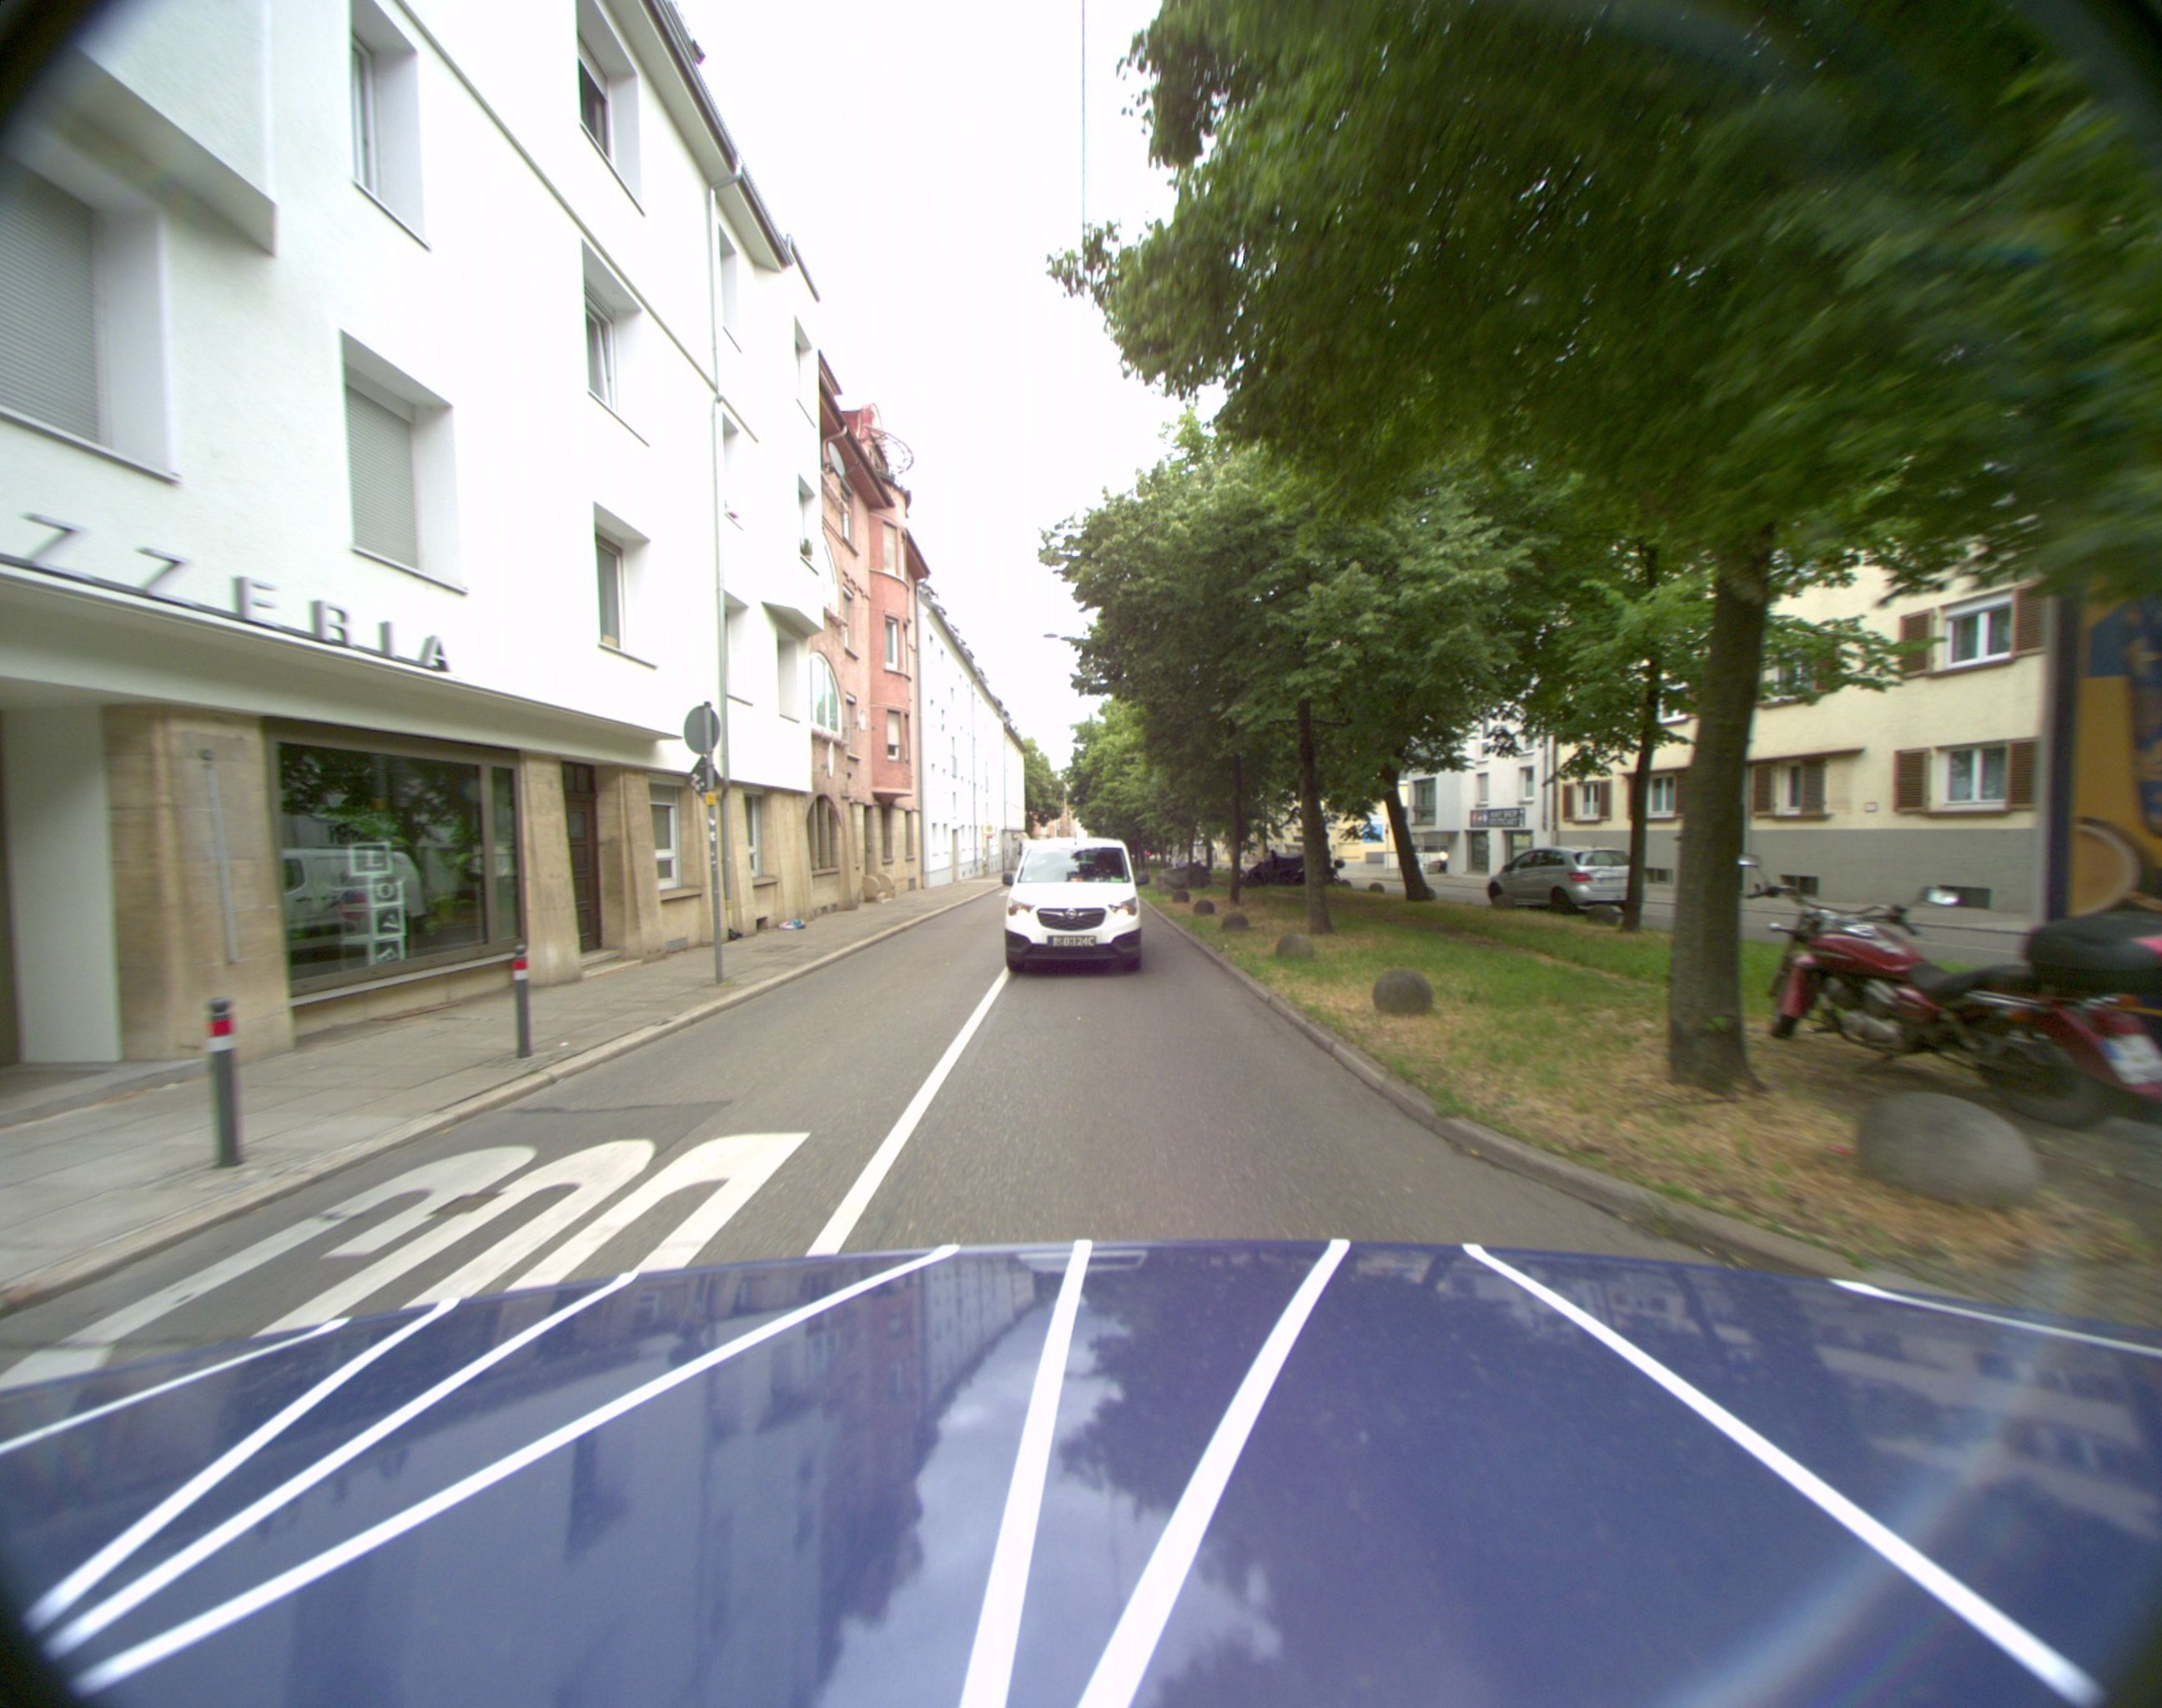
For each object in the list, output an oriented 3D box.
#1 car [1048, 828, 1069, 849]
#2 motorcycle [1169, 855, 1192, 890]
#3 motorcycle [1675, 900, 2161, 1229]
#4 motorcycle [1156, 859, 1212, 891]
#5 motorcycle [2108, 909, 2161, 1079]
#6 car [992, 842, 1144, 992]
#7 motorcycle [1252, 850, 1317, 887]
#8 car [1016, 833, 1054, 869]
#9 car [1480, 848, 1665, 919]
[{"bbox_3d":[-3.328,-2.356,115.063,3.026,3.045,7.166,0,1,-1],"label":"car"},{"bbox_3d":[4.084,0.739,31.225,0.454,1.298,1.627,-2,3,-11],"label":"motorcycle"},{"bbox_3d":[4.635,0.928,4.272,0.888,1.090,2.481,-1,2,7],"label":"motorcycle"},{"bbox_3d":[3.866,0.779,28.552,2.041,1.126,0.454,-1,3,1],"label":"motorcycle"},{"bbox_3d":[7.247,0.934,4.193,0.750,1.067,1.851,-1,2,7],"label":"motorcycle"},{"bbox_3d":[0.022,0.739,11.768,1.853,1.814,5.021,0,1,4],"label":"car"},{"bbox_3d":[8.462,0.597,31.703,2.424,1.475,0.963,1,3,1],"label":"motorcycle"},{"bbox_3d":[-4.057,-0.341,68.369,3.026,3.045,7.166,0,1,-1],"label":"car"},{"bbox_3d":[11.853,0.649,18.716,1.818,1.554,4.254,0,0,0],"label":"car"}]
